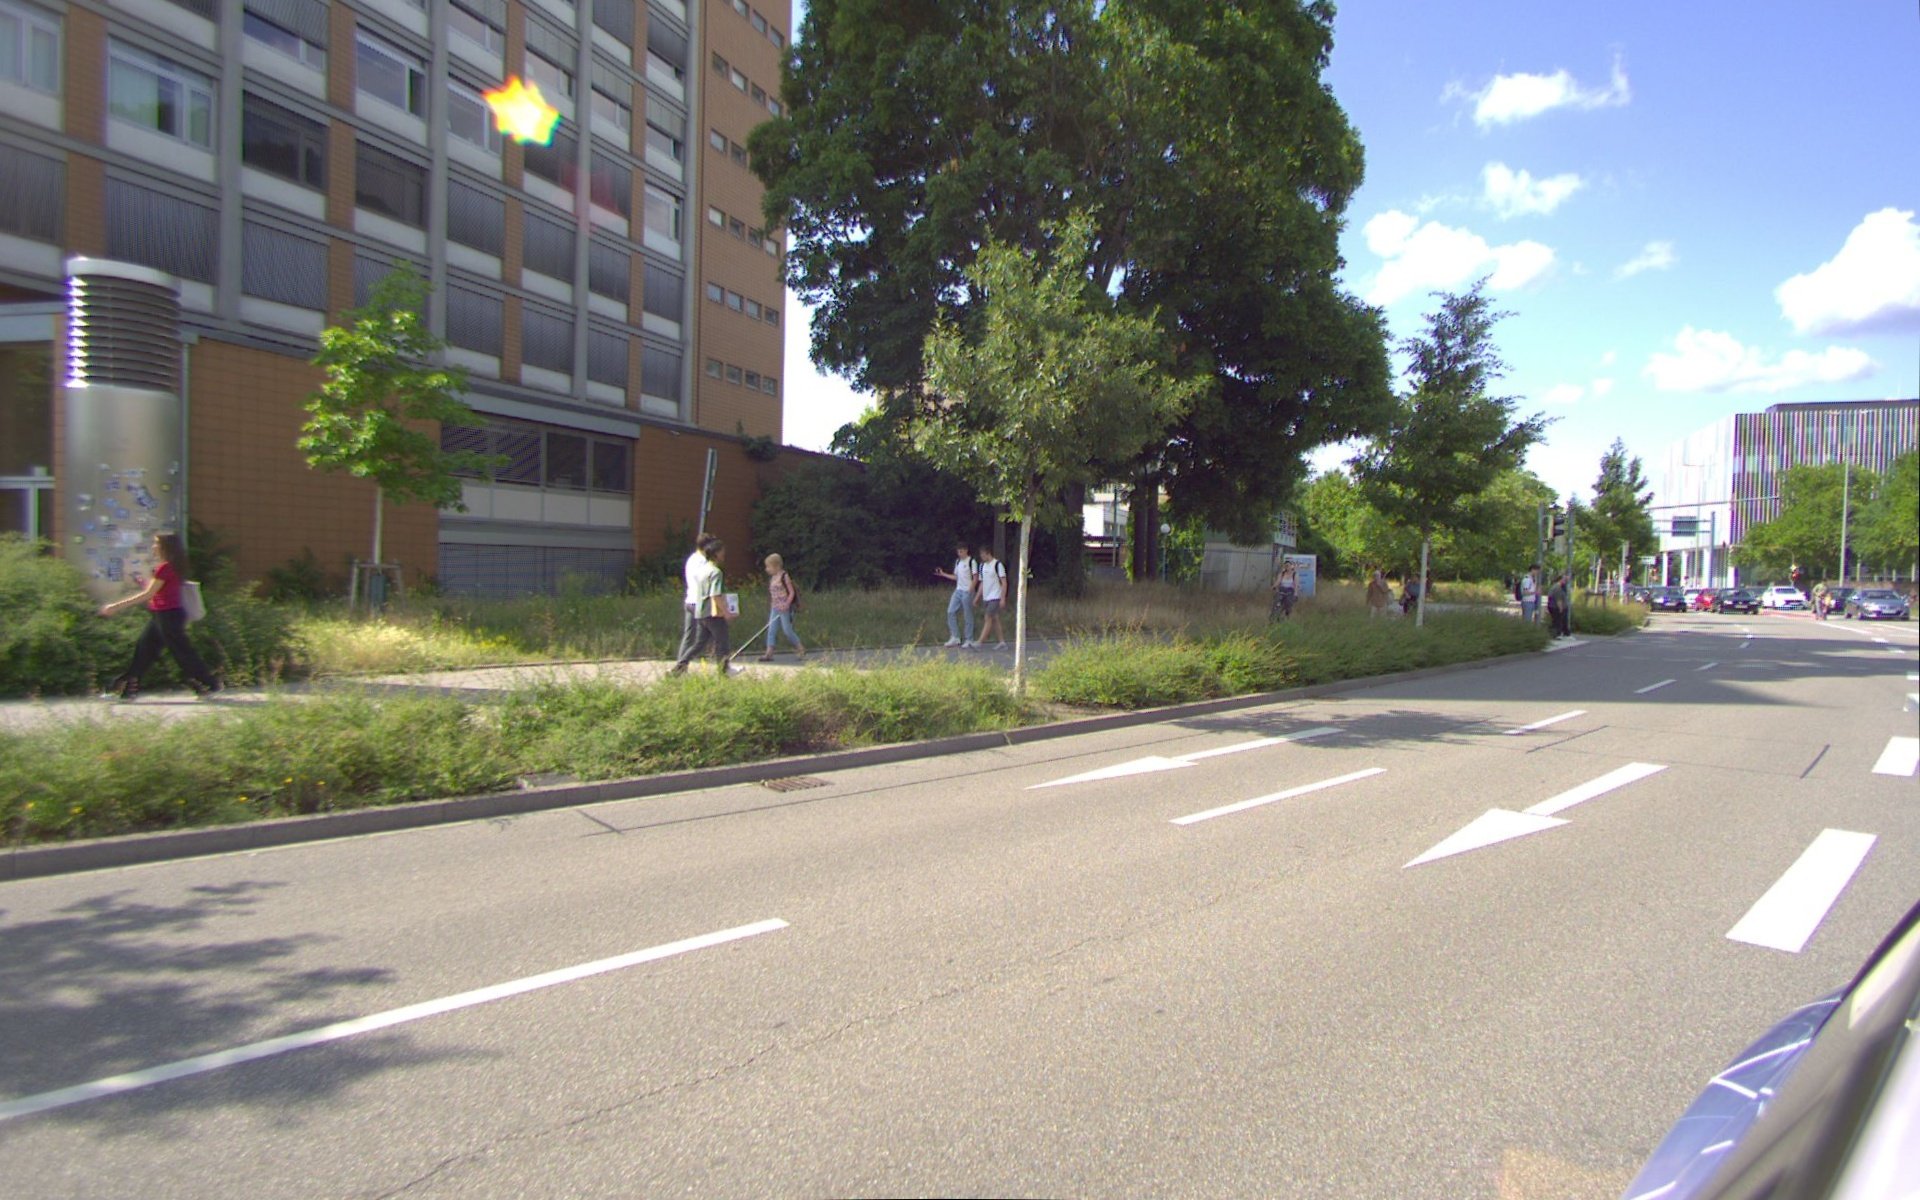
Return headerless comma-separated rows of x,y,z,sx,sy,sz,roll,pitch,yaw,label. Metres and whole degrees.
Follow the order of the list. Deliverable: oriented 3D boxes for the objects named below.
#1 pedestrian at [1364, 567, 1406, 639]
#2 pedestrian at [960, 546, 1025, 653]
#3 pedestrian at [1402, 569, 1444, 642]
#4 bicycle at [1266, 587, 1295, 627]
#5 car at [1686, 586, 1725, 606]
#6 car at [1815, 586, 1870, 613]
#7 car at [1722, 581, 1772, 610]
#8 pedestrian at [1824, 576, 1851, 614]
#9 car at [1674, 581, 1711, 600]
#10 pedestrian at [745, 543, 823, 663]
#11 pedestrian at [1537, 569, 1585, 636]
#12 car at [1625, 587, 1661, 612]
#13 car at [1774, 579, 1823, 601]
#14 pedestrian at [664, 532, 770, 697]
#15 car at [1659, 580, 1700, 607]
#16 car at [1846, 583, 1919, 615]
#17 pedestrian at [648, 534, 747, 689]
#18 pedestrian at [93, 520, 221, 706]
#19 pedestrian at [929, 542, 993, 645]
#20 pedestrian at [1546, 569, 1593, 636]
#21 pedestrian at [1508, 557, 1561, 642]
10.574,0.068,25.174,0.765,1.756,0.708,0,0,41,pedestrian
0.550,-0.028,17.085,0.614,1.720,0.876,5,5,43,pedestrian
11.347,0.125,24.792,0.765,1.756,0.708,0,0,41,pedestrian
7.782,0.157,24.558,0.640,0.891,1.812,2,2,18,bicycle
44.884,-0.269,60.986,1.586,1.148,3.587,0,1,32,car
47.690,-0.058,54.733,1.721,1.351,3.745,0,1,33,car
42.586,-0.279,54.804,1.814,1.481,3.952,1,1,34,car
40.595,-0.229,46.836,0.731,1.736,0.868,0,0,26,pedestrian
48.833,-0.640,67.517,1.898,1.148,4.051,2,2,36,car
-2.527,0.022,14.563,0.614,1.641,0.876,5,5,43,pedestrian
15.944,0.057,26.850,0.755,1.756,0.926,-1,1,-43,pedestrian
43.311,-0.038,64.147,1.815,1.481,3.949,1,2,35,car
53.915,-0.645,65.141,1.764,1.371,3.958,0,1,30,car
-2.778,0.129,11.572,0.742,1.775,0.876,5,5,42,pedestrian
40.577,-0.386,57.118,1.815,1.481,3.950,1,2,35,car
43.149,-0.081,46.801,1.977,1.393,4.238,0,1,22,car
-3.172,0.104,12.246,0.742,1.767,0.876,5,5,44,pedestrian
-7.463,0.097,9.450,0.872,1.641,0.616,0,4,-34,pedestrian
0.019,-0.126,17.577,0.614,1.720,0.876,5,5,43,pedestrian
16.487,0.055,27.389,0.755,1.756,0.926,-1,1,-43,pedestrian
14.184,-0.028,25.004,0.755,2.039,0.963,-1,1,-43,pedestrian
